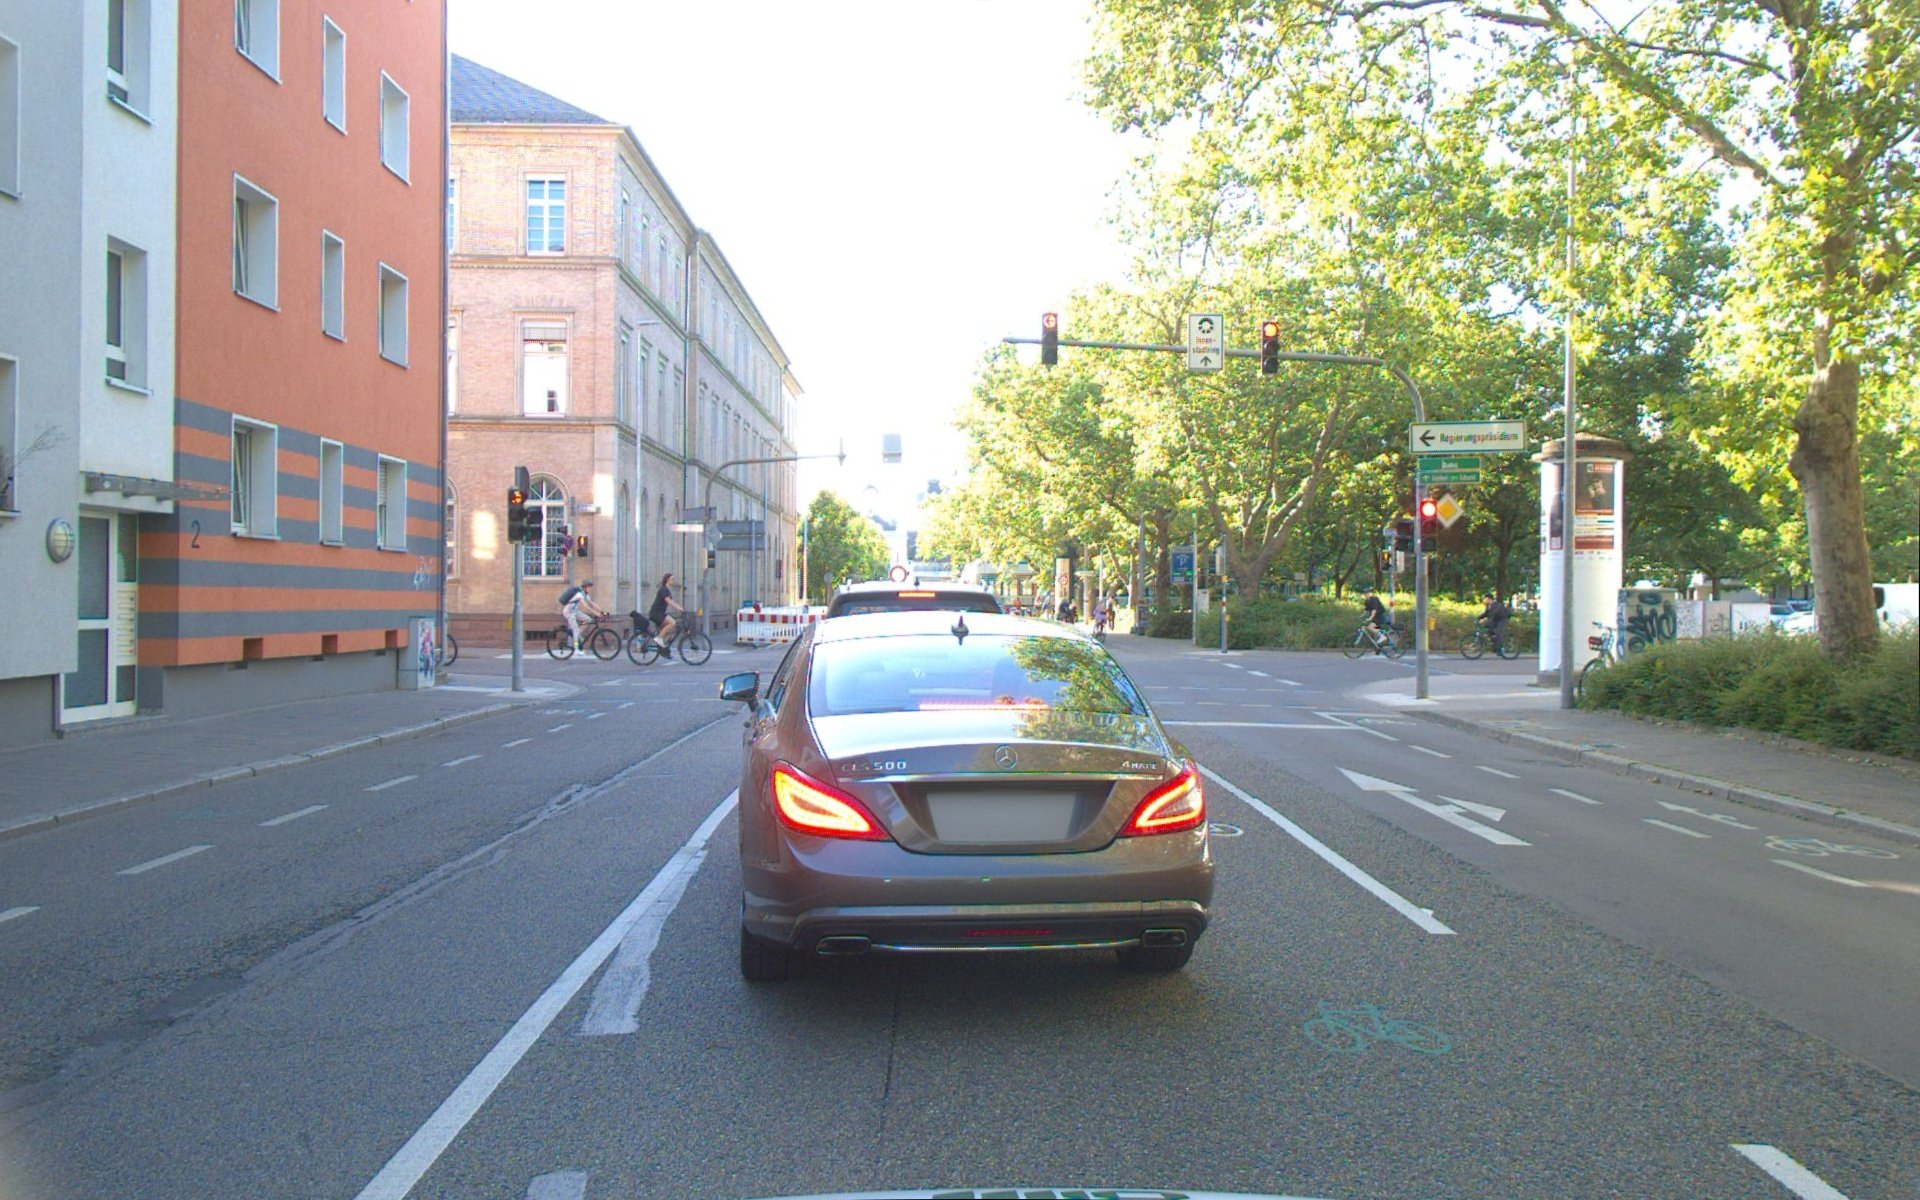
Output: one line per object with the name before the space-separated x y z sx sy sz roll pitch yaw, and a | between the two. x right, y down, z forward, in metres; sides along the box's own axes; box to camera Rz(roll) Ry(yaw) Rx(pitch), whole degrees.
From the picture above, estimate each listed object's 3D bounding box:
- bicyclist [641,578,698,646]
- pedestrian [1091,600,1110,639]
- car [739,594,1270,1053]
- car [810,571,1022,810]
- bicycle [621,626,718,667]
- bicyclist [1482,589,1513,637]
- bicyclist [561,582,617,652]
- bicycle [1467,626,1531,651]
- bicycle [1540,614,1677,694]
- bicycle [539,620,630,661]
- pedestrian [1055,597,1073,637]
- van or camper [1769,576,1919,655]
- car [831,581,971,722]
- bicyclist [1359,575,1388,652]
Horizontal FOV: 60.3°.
bicyclist | -6.170 0.243 35.163 1.081 1.427 0.657 0 0 -1
pedestrian | 5.378 0.740 63.315 0.635 1.458 0.659 0 0 -1
car | -0.118 0.741 7.635 1.769 1.482 4.343 1 0 -8
car | -0.403 0.641 13.679 1.487 1.675 3.878 1 0 -3
bicycle | -6.158 0.979 35.153 1.934 0.851 0.676 0 0 -1
bicyclist | 14.417 0.342 44.365 0.689 1.282 0.458 0 0 2
bicyclist | -8.328 0.370 37.123 1.052 1.546 0.717 0 0 4
bicycle | 14.476 1.036 44.410 1.554 0.646 0.496 0 0 3
bicycle | 9.329 0.775 23.821 1.766 1.116 0.510 0 0 2
bicycle | -8.419 0.907 37.120 1.853 0.898 0.726 0 0 3
pedestrian | 4.027 0.645 63.966 0.635 1.529 0.637 0 0 -1
van or camper | 23.485 0.394 42.493 4.489 1.975 1.998 0 0 -5
car | -0.782 0.657 23.223 1.783 1.793 3.999 0 0 -1
bicyclist | 11.101 0.370 44.385 0.639 2.049 0.440 0 0 -3
